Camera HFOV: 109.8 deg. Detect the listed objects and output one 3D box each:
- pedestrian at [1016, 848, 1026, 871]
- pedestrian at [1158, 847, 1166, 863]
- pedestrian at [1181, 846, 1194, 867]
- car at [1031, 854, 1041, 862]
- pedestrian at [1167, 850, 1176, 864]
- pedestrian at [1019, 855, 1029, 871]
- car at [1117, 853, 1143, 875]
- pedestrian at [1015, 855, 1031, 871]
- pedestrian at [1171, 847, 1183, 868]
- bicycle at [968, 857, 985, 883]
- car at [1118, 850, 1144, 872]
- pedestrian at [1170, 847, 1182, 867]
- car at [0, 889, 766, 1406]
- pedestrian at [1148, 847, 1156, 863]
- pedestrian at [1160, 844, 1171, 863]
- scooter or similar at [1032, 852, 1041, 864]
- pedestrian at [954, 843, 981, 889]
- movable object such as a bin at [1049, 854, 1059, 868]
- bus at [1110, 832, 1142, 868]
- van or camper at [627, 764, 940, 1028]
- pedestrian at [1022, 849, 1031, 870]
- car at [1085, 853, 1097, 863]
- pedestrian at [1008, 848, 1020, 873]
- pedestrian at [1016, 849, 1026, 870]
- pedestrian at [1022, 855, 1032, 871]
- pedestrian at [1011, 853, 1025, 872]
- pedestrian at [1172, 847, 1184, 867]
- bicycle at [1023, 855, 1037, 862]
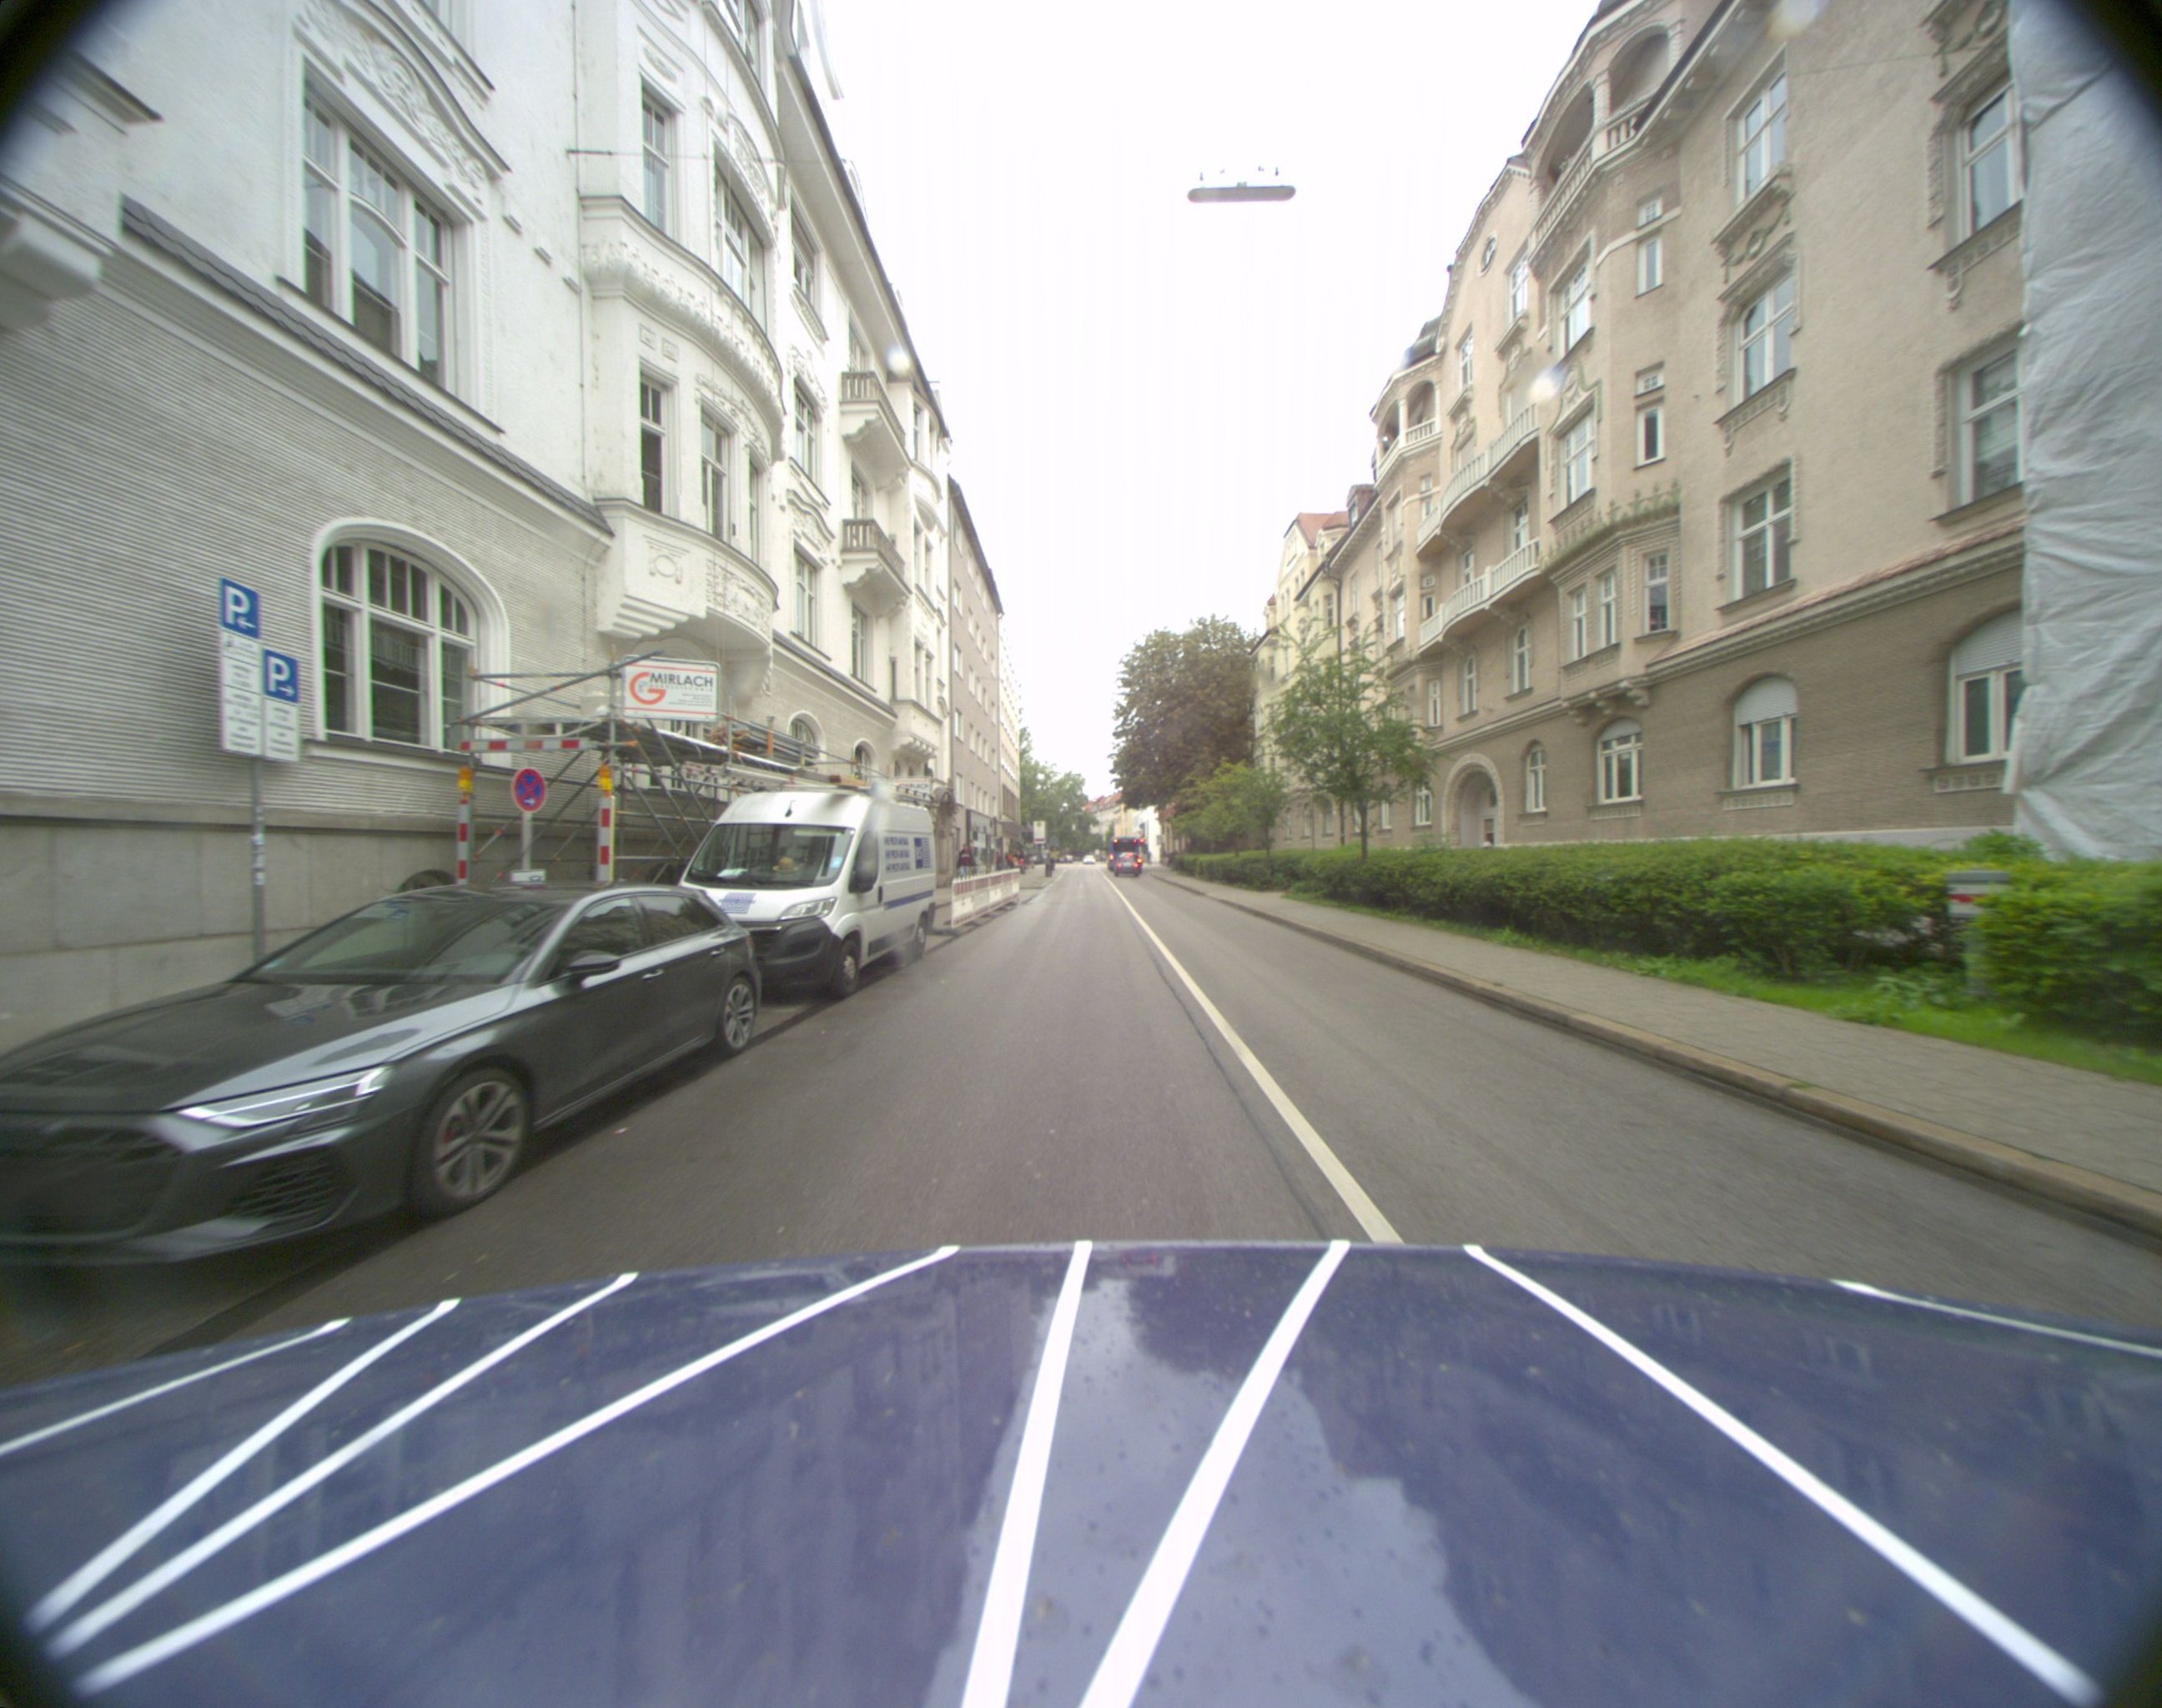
[{"bbox_3d":[-4.664,0.427,59.263,0.659,1.723,0.684,0,1,1],"label":"pedestrian"},{"bbox_3d":[10.153,0.114,95.350,0.952,2.002,1.397,-1,1,11],"label":"pedestrian"},{"bbox_3d":[9.062,0.189,64.869,0.784,1.735,0.877,0,1,33],"label":"pedestrian"},{"bbox_3d":[-8.318,0.716,141.599,1.718,1.543,3.999,0,0,-1],"label":"car"},{"bbox_3d":[8.751,0.326,73.423,0.830,1.333,0.754,0,1,-1],"label":"pedestrian"},{"bbox_3d":[-4.405,0.672,58.692,0.681,1.230,0.495,0,1,1],"label":"pedestrian"},{"bbox_3d":[3.396,0.653,53.335,1.588,1.471,3.782,0,0,1],"label":"car"},{"bbox_3d":[-4.365,0.671,57.147,1.099,1.230,0.668,0,1,1],"label":"pedestrian"},{"bbox_3d":[7.963,0.278,63.001,0.910,1.735,0.847,-1,1,0],"label":"pedestrian"},{"bbox_3d":[-5.225,0.775,38.036,0.513,1.253,1.820,3,1,1],"label":"bicycle"},{"bbox_3d":[3.931,0.540,60.156,1.772,1.635,4.273,0,0,1],"label":"car"},{"bbox_3d":[8.076,0.250,64.749,0.875,1.735,0.910,-1,1,0],"label":"pedestrian"},{"bbox_3d":[-3.585,1.033,4.451,1.758,1.426,4.086,0,0,0],"label":"car"},{"bbox_3d":[8.902,0.158,95.226,0.952,2.002,1.397,-1,1,11],"label":"pedestrian"},{"bbox_3d":[9.062,-0.073,81.165,0.832,2.002,0.778,-2,1,-42],"label":"pedestrian"},{"bbox_3d":[-4.802,0.407,81.692,0.563,1.234,1.445,-1,1,11],"label":"scooter or similar"},{"bbox_3d":[-4.872,0.509,32.815,0.929,1.899,1.179,2,1,1],"label":"pedestrian"},{"bbox_3d":[-2.587,0.651,71.808,0.877,1.243,0.798,0,1,-4],"label":"movable object such as a bin"},{"bbox_3d":[4.045,-0.332,69.921,2.586,3.083,8.923,0,0,2],"label":"bus"},{"bbox_3d":[-3.479,0.405,10.323,1.958,2.621,5.458,-1,1,1],"label":"van or camper"},{"bbox_3d":[-4.502,0.423,62.567,0.659,1.723,0.696,0,1,1],"label":"pedestrian"},{"bbox_3d":[1.670,0.745,128.784,1.927,1.608,3.999,-1,1,0],"label":"car"},{"bbox_3d":[-4.634,0.459,52.771,0.704,1.723,0.746,0,1,1],"label":"pedestrian"},{"bbox_3d":[-4.775,0.431,60.659,0.659,1.723,0.778,0,1,1],"label":"pedestrian"},{"bbox_3d":[-4.157,0.685,58.185,0.709,1.230,0.585,0,1,1],"label":"pedestrian"},{"bbox_3d":[-4.588,0.638,55.453,0.862,1.344,0.862,0,1,1],"label":"pedestrian"},{"bbox_3d":[8.139,0.251,63.859,0.875,1.735,0.786,-1,1,0],"label":"pedestrian"},{"bbox_3d":[-8.553,0.752,127.448,2.124,1.110,0.738,0,1,-9],"label":"bicycle"}]
